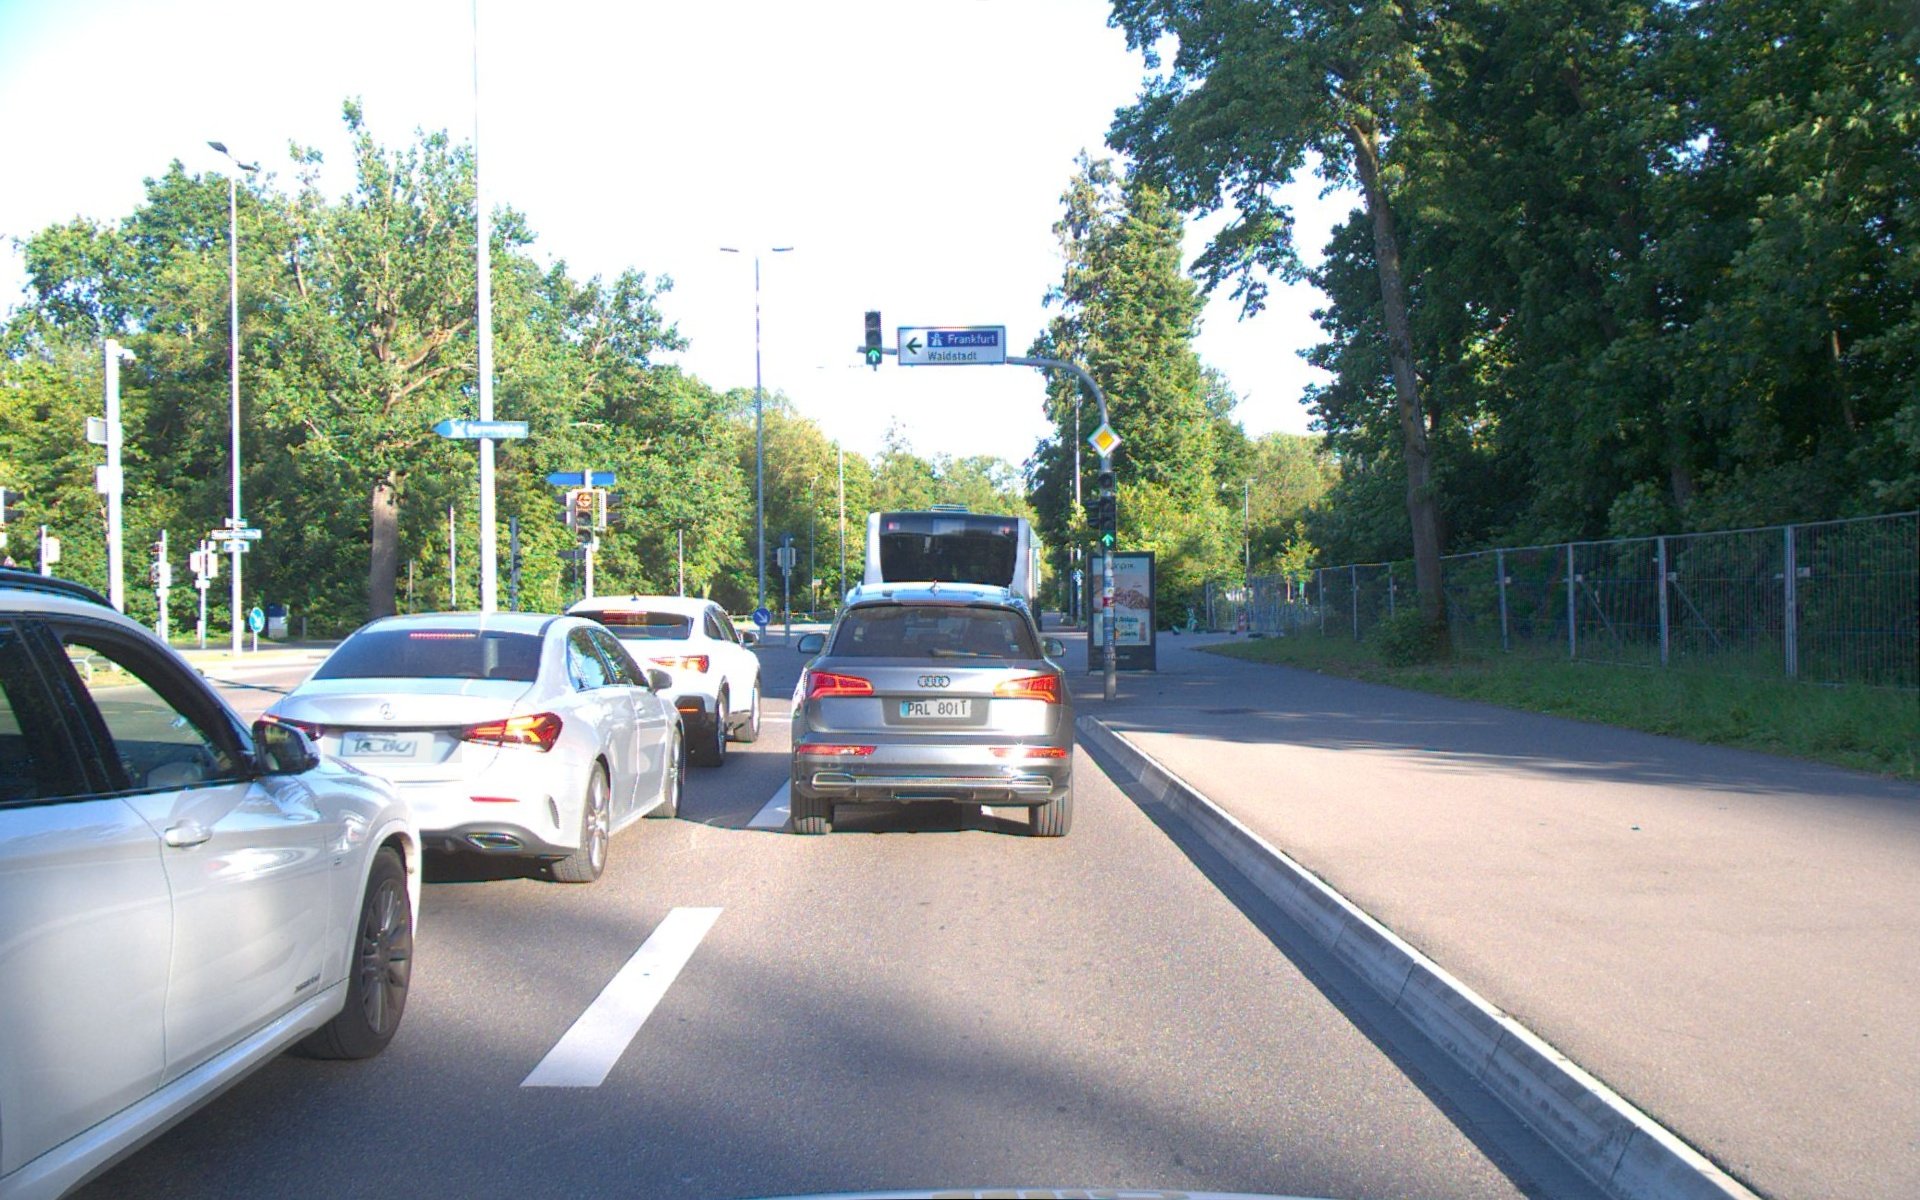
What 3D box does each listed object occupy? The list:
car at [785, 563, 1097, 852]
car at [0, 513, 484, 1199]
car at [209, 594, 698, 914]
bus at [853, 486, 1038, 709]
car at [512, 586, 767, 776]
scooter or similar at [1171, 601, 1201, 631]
[{"bbox_3d":[-0.149,0.625,11.903,1.830,1.693,3.999,1,1,-1],"label":"car"},{"bbox_3d":[-2.612,0.623,3.980,1.684,1.608,4.433,1,0,-1],"label":"car"},{"bbox_3d":[-2.765,0.738,10.079,1.749,1.469,4.276,1,1,-2],"label":"car"},{"bbox_3d":[-0.204,-0.065,27.044,2.624,3.196,5.882,1,0,0],"label":"bus"},{"bbox_3d":[-3.012,0.691,16.340,1.771,1.599,3.999,1,1,-1],"label":"car"},{"bbox_3d":[9.141,0.649,66.823,1.158,1.195,0.659,1,0,10],"label":"scooter or similar"}]
